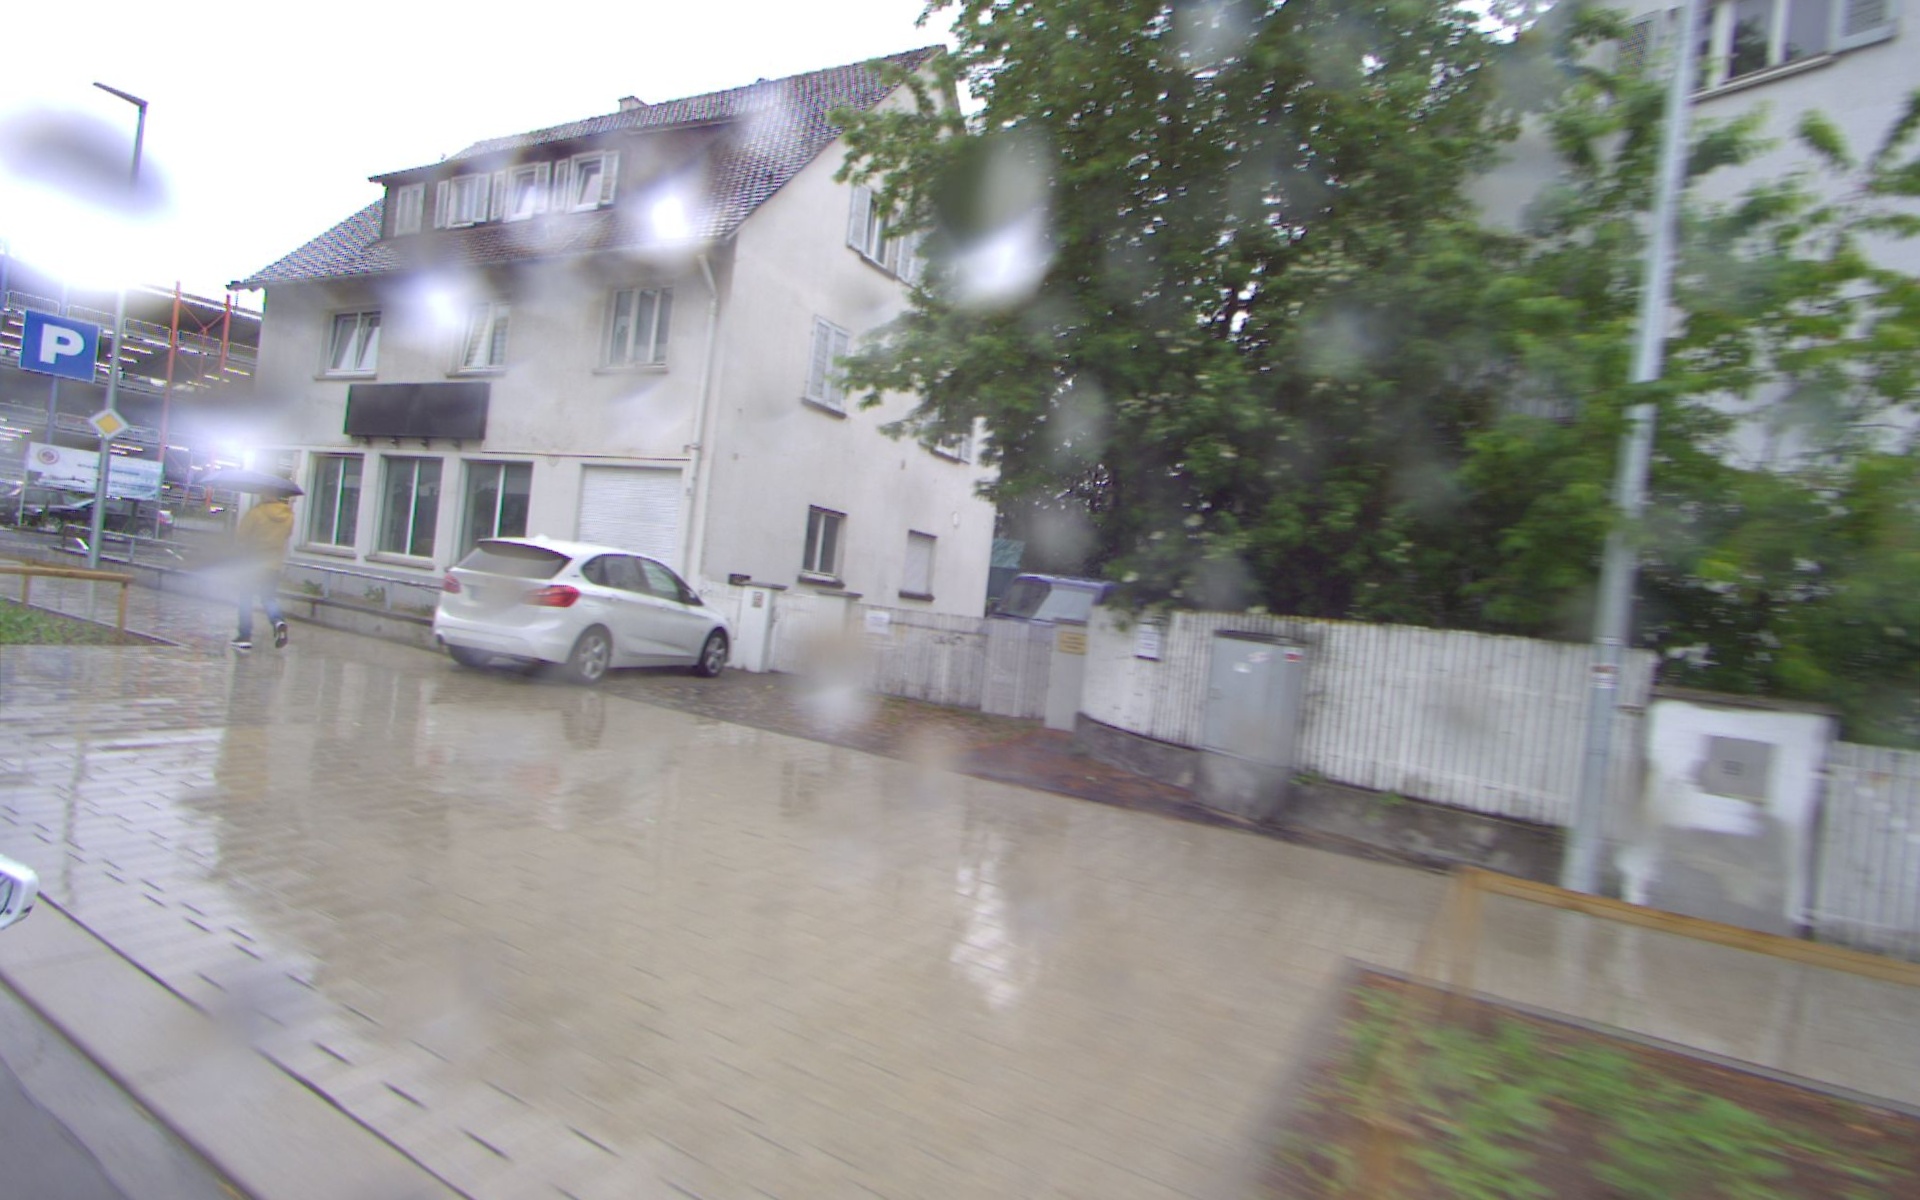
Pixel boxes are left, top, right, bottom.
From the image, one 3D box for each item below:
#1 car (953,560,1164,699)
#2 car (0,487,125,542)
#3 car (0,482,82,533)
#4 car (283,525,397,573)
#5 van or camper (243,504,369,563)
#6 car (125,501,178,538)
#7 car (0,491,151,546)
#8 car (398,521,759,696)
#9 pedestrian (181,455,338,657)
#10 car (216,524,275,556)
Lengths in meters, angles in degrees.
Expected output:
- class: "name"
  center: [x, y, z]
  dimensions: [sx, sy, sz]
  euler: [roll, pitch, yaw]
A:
- class: "car"
  center: [2.013, 0.576, 18.853]
  dimensions: [2.085, 2.046, 4.849]
  euler: [8, 1, 27]
- class: "car"
  center: [-33.645, -3.171, 37.266]
  dimensions: [1.701, 1.466, 3.734]
  euler: [7, -1, 27]
- class: "car"
  center: [-37.919, -3.823, 39.790]
  dimensions: [1.813, 1.671, 4.364]
  euler: [7, -1, 29]
- class: "car"
  center: [-29.220, -2.405, 47.531]
  dimensions: [1.838, 1.688, 4.122]
  euler: [7, 0, 39]
- class: "van or camper"
  center: [-34.094, -3.442, 52.575]
  dimensions: [2.189, 2.355, 4.951]
  euler: [7, 0, 38]
- class: "car"
  center: [-45.452, -4.545, 56.532]
  dimensions: [3.946, 1.700, 1.726]
  euler: [7, 1, 43]
- class: "car"
  center: [-31.655, -2.885, 36.062]
  dimensions: [1.663, 1.331, 3.734]
  euler: [7, -1, 27]
- class: "car"
  center: [-4.452, 0.116, 12.538]
  dimensions: [1.962, 1.600, 4.141]
  euler: [7, 1, 17]
- class: "pedestrian"
  center: [-7.622, -0.472, 10.955]
  dimensions: [1.174, 2.040, 0.859]
  euler: [7, 2, 29]
- class: "car"
  center: [-42.722, -3.606, 60.157]
  dimensions: [3.946, 1.501, 1.892]
  euler: [4, -6, 42]
